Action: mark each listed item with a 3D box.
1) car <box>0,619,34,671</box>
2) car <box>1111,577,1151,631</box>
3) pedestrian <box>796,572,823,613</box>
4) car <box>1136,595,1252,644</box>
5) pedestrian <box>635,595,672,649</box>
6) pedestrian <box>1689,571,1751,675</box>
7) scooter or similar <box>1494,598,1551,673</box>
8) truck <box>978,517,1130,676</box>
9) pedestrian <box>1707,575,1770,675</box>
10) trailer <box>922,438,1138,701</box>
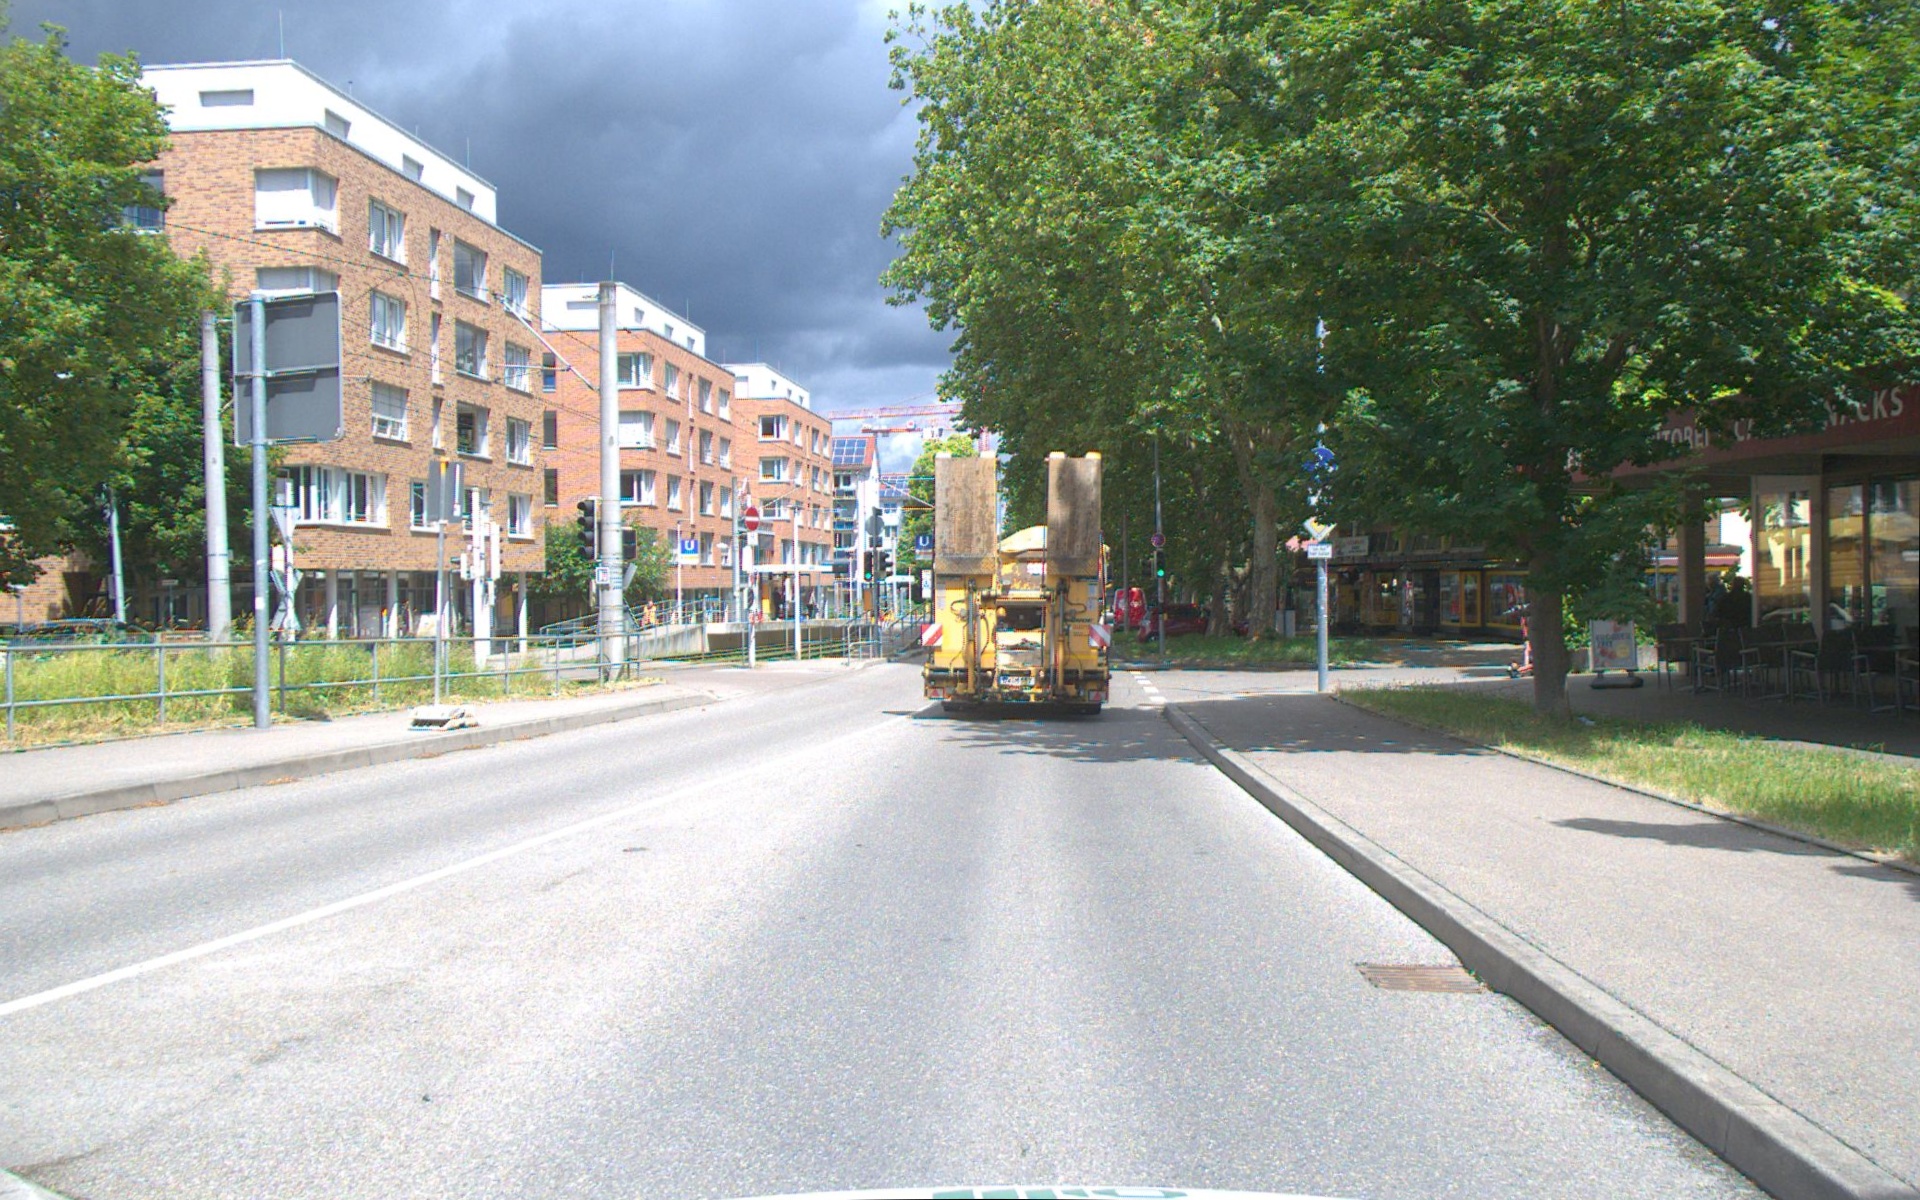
[{"bbox_3d":[-26.270,1.203,43.129,3.264,1.256,1.623,-1,2,0],"label":"car"},{"bbox_3d":[9.833,0.202,94.602,1.951,2.876,5.119,3,1,8],"label":"car"},{"bbox_3d":[-7.738,-0.391,85.220,1.113,2.049,0.999,-1,0,11],"label":"pedestrian"},{"bbox_3d":[8.068,0.653,57.167,3.902,1.537,2.002,0,3,7],"label":"car"},{"bbox_3d":[-11.934,0.855,64.440,1.113,2.049,0.999,-1,0,11],"label":"pedestrian"},{"bbox_3d":[12.017,0.361,26.160,0.682,1.601,0.557,-1,0,-1],"label":"pedestrian"},{"bbox_3d":[9.983,0.609,29.326,0.509,1.248,1.726,0,1,34],"label":"scooter or similar"},{"bbox_3d":[2.124,-0.064,36.811,2.925,3.088,8.490,-1,0,4],"label":"truck"},{"bbox_3d":[12.022,0.389,25.550,0.682,1.514,0.557,-1,0,-1],"label":"pedestrian"},{"bbox_3d":[1.298,-0.356,27.170,2.803,3.431,10.846,-1,-1,4],"label":"trailer"}]
